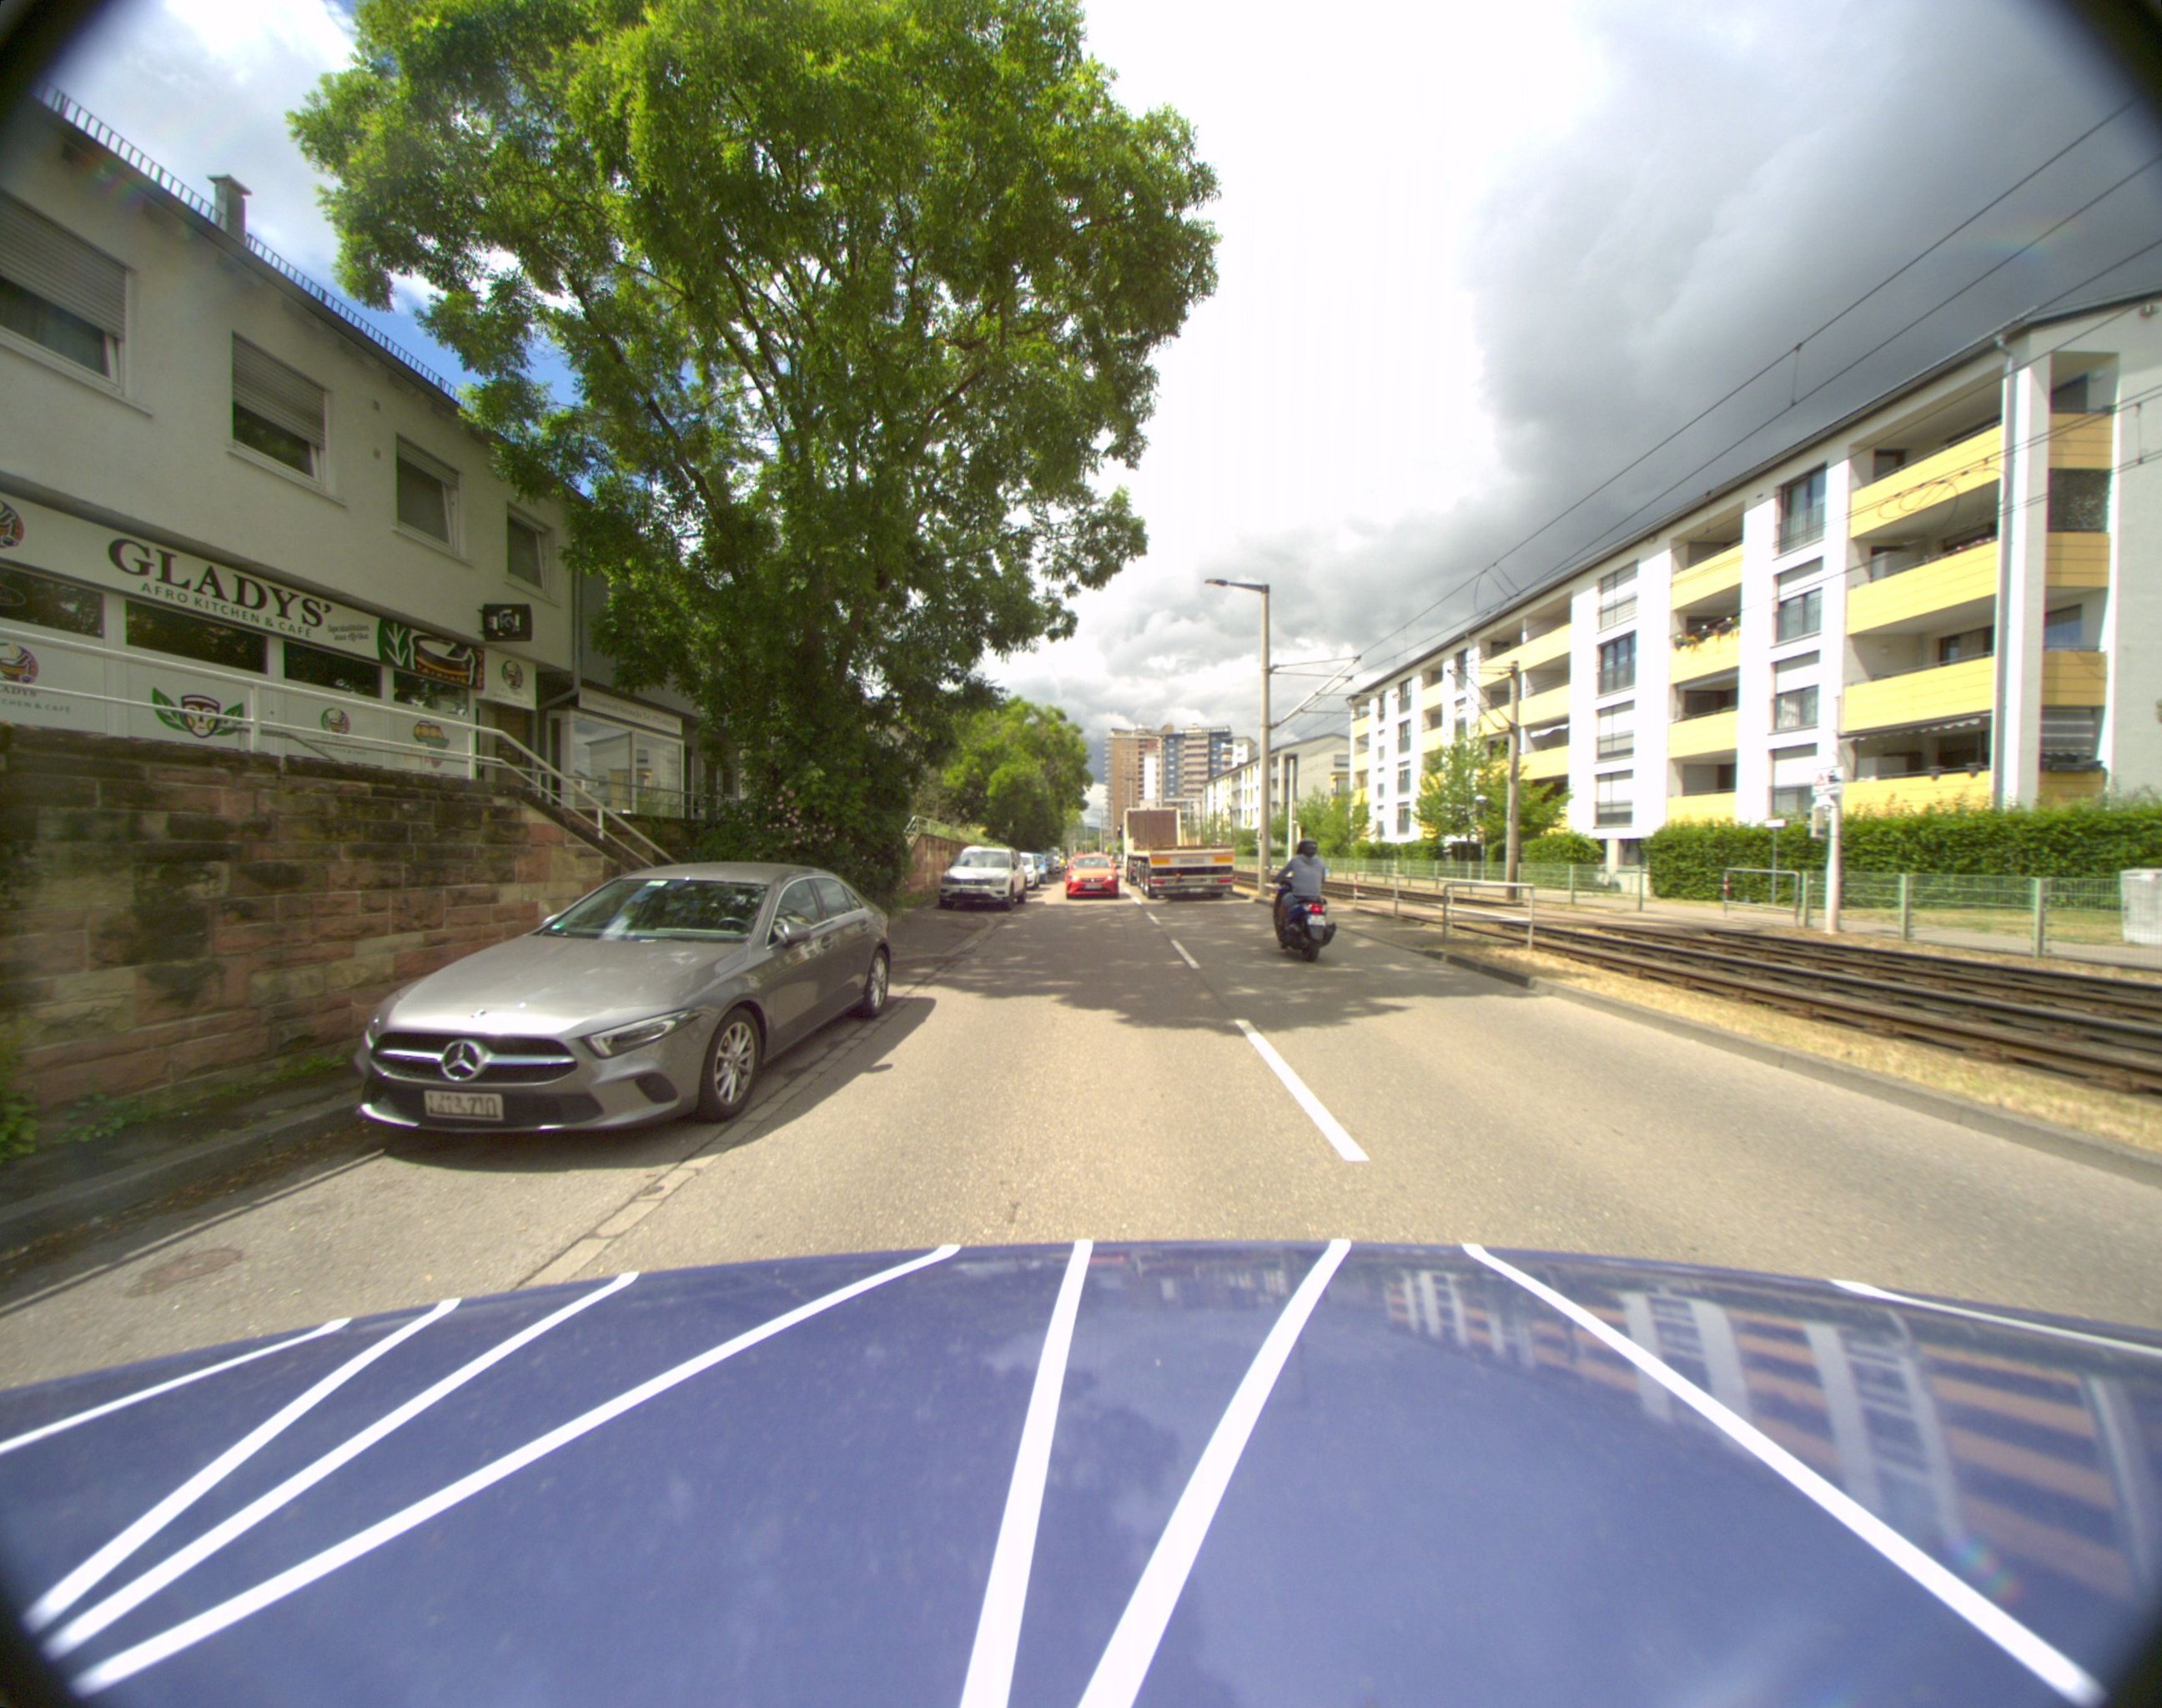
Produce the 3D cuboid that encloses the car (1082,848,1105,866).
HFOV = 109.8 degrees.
[{"bbox_3d":[1.172,0.258,73.279,1.927,1.543,3.999,-2,1,-1],"label":"car"}]

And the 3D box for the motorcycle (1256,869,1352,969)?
[{"bbox_3d":[3.026,0.837,10.506,0.783,1.181,1.869,-1,1,1],"label":"motorcycle"}]

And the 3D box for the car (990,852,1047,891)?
[{"bbox_3d":[-2.483,0.662,31.038,1.784,1.420,4.147,0,1,2],"label":"car"}]

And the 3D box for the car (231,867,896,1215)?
[{"bbox_3d":[-2.819,0.871,5.457,1.784,1.420,4.147,0,1,2],"label":"car"}]

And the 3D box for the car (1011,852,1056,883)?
[{"bbox_3d":[-2.288,0.627,37.710,1.784,1.420,4.147,0,1,2],"label":"car"}]

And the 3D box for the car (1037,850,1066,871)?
[{"bbox_3d":[-2.095,0.439,54.894,1.784,1.420,4.147,0,1,2],"label":"car"}]

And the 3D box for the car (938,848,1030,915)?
[{"bbox_3d":[-2.552,0.655,20.911,1.818,1.644,4.147,0,1,2],"label":"car"}]

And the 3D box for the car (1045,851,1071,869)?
[{"bbox_3d":[-1.822,0.460,61.935,1.784,1.420,4.147,0,1,2],"label":"car"}]

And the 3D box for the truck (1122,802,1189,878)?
[{"bbox_3d":[3.578,-0.665,37.509,2.851,3.429,4.415,-2,1,2],"label":"truck"}]

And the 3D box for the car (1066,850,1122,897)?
[{"bbox_3d":[0.518,0.596,25.715,1.723,1.435,4.000,-1,1,3],"label":"car"}]

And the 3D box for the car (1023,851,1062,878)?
[{"bbox_3d":[-2.134,0.562,42.775,1.784,1.420,4.147,0,1,2],"label":"car"}]

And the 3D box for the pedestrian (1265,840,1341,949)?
[{"bbox_3d":[3.022,0.524,10.425,0.737,1.408,0.927,-2,1,1],"label":"pedestrian"}]

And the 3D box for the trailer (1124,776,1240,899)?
[{"bbox_3d":[3.309,-0.561,29.134,2.874,3.429,14.615,-2,1,2],"label":"trailer"}]
